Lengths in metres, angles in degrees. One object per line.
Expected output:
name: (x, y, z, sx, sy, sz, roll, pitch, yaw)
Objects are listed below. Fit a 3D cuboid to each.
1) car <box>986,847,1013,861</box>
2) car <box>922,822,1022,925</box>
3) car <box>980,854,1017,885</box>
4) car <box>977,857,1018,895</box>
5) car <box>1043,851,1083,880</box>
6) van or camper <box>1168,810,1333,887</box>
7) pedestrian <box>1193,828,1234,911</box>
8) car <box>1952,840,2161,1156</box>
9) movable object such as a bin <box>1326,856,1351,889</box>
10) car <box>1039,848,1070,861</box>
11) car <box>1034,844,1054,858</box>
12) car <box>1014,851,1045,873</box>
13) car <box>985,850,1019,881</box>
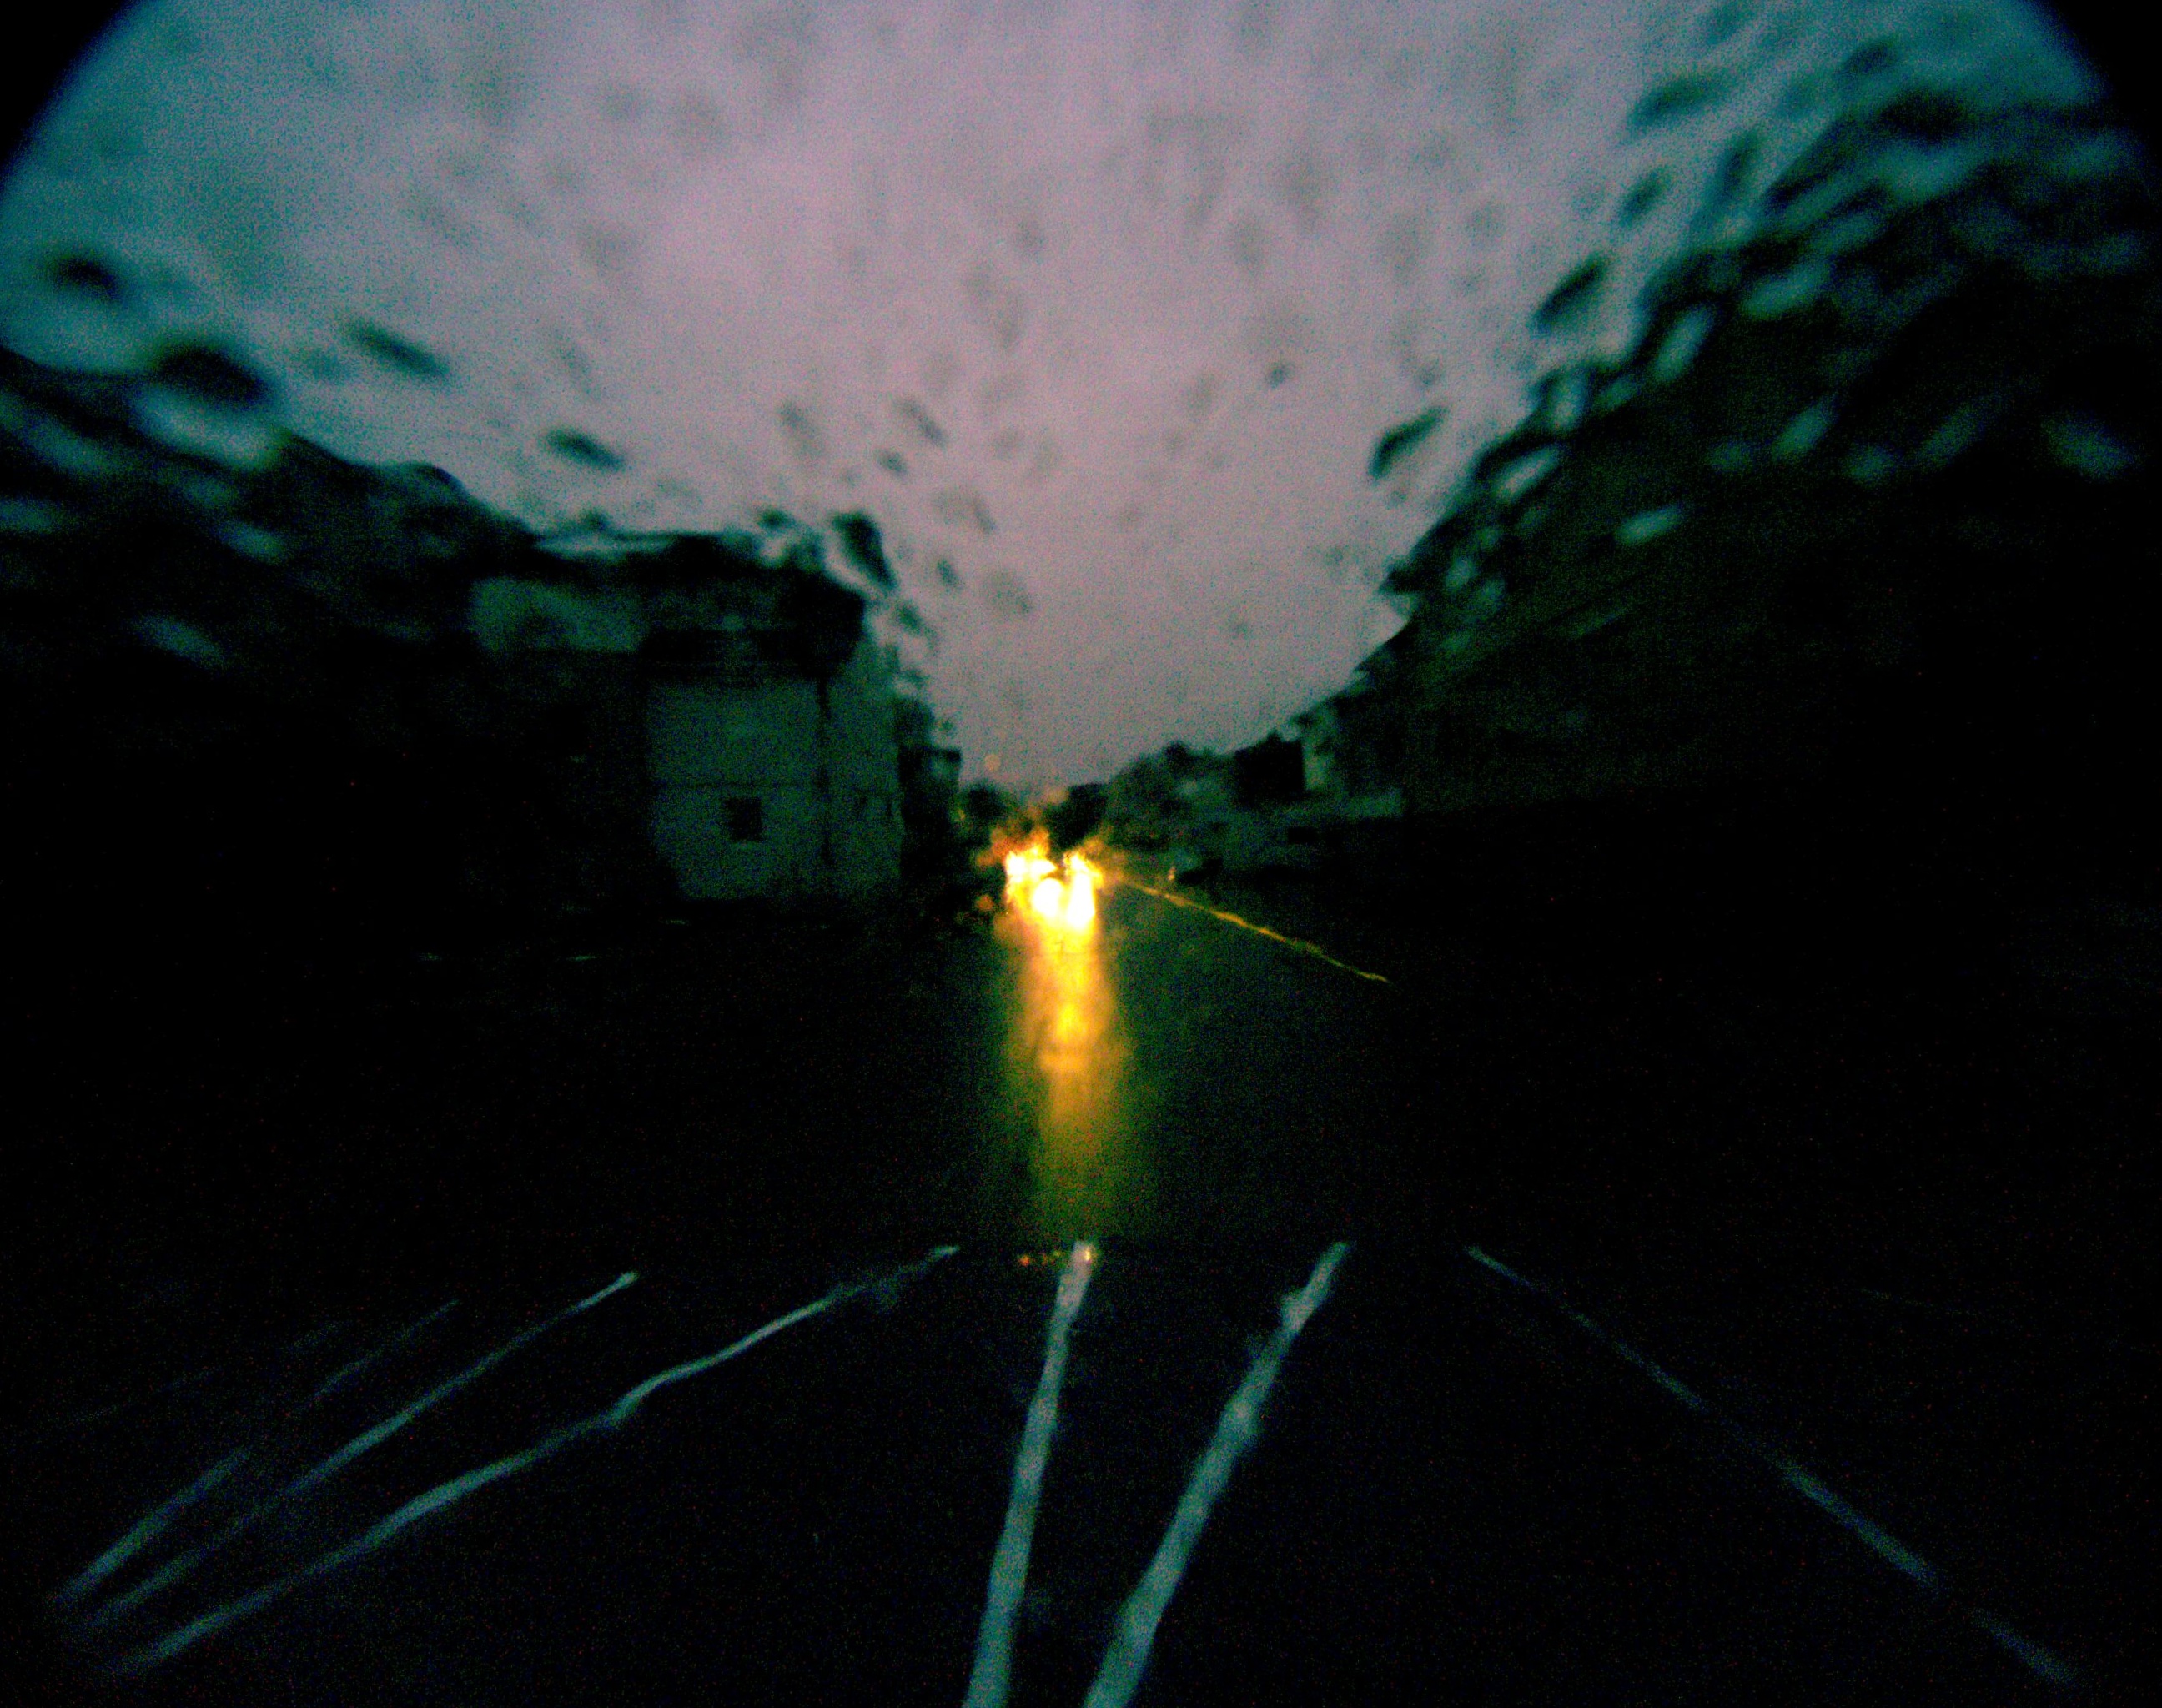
car: (-11.537, 0.022, 107.217, 1.855, 1.873, 4.874, -3, 1, -31)
car: (-2.915, 0.469, 21.577, 2.014, 2.440, 5.613, -3, 1, -1)
car: (-4.236, 0.753, 39.303, 1.740, 1.398, 4.302, -3, 0, -5)
car: (-3.648, 0.913, 33.661, 1.648, 1.469, 4.369, -3, 0, -5)
car: (-1.123, 0.626, 44.542, 1.992, 1.549, 4.233, -3, 1, -6)
van or camper: (6.631, -0.210, 30.356, 6.074, 2.925, 2.323, 0, 1, 0)
pedestrian: (3.344, 0.369, 19.189, 0.785, 2.002, 0.869, -4, 2, 0)
car: (7.345, 0.635, 3.323, 4.612, 1.462, 1.892, -1, 1, 6)
movable object such as a bin: (8.428, 0.603, 24.863, 0.617, 1.015, 0.580, -3, 1, 5)
car: (-3.605, 0.041, 105.354, 3.995, 1.652, 1.756, -2, 1, 7)
car: (-4.841, -0.409, 98.451, 1.756, 1.652, 3.995, -3, 1, -14)
car: (-4.054, 0.570, 59.034, 1.992, 1.549, 4.232, -3, 1, -8)
car: (-4.511, 0.631, 43.763, 1.815, 1.530, 4.301, -3, 1, -5)
